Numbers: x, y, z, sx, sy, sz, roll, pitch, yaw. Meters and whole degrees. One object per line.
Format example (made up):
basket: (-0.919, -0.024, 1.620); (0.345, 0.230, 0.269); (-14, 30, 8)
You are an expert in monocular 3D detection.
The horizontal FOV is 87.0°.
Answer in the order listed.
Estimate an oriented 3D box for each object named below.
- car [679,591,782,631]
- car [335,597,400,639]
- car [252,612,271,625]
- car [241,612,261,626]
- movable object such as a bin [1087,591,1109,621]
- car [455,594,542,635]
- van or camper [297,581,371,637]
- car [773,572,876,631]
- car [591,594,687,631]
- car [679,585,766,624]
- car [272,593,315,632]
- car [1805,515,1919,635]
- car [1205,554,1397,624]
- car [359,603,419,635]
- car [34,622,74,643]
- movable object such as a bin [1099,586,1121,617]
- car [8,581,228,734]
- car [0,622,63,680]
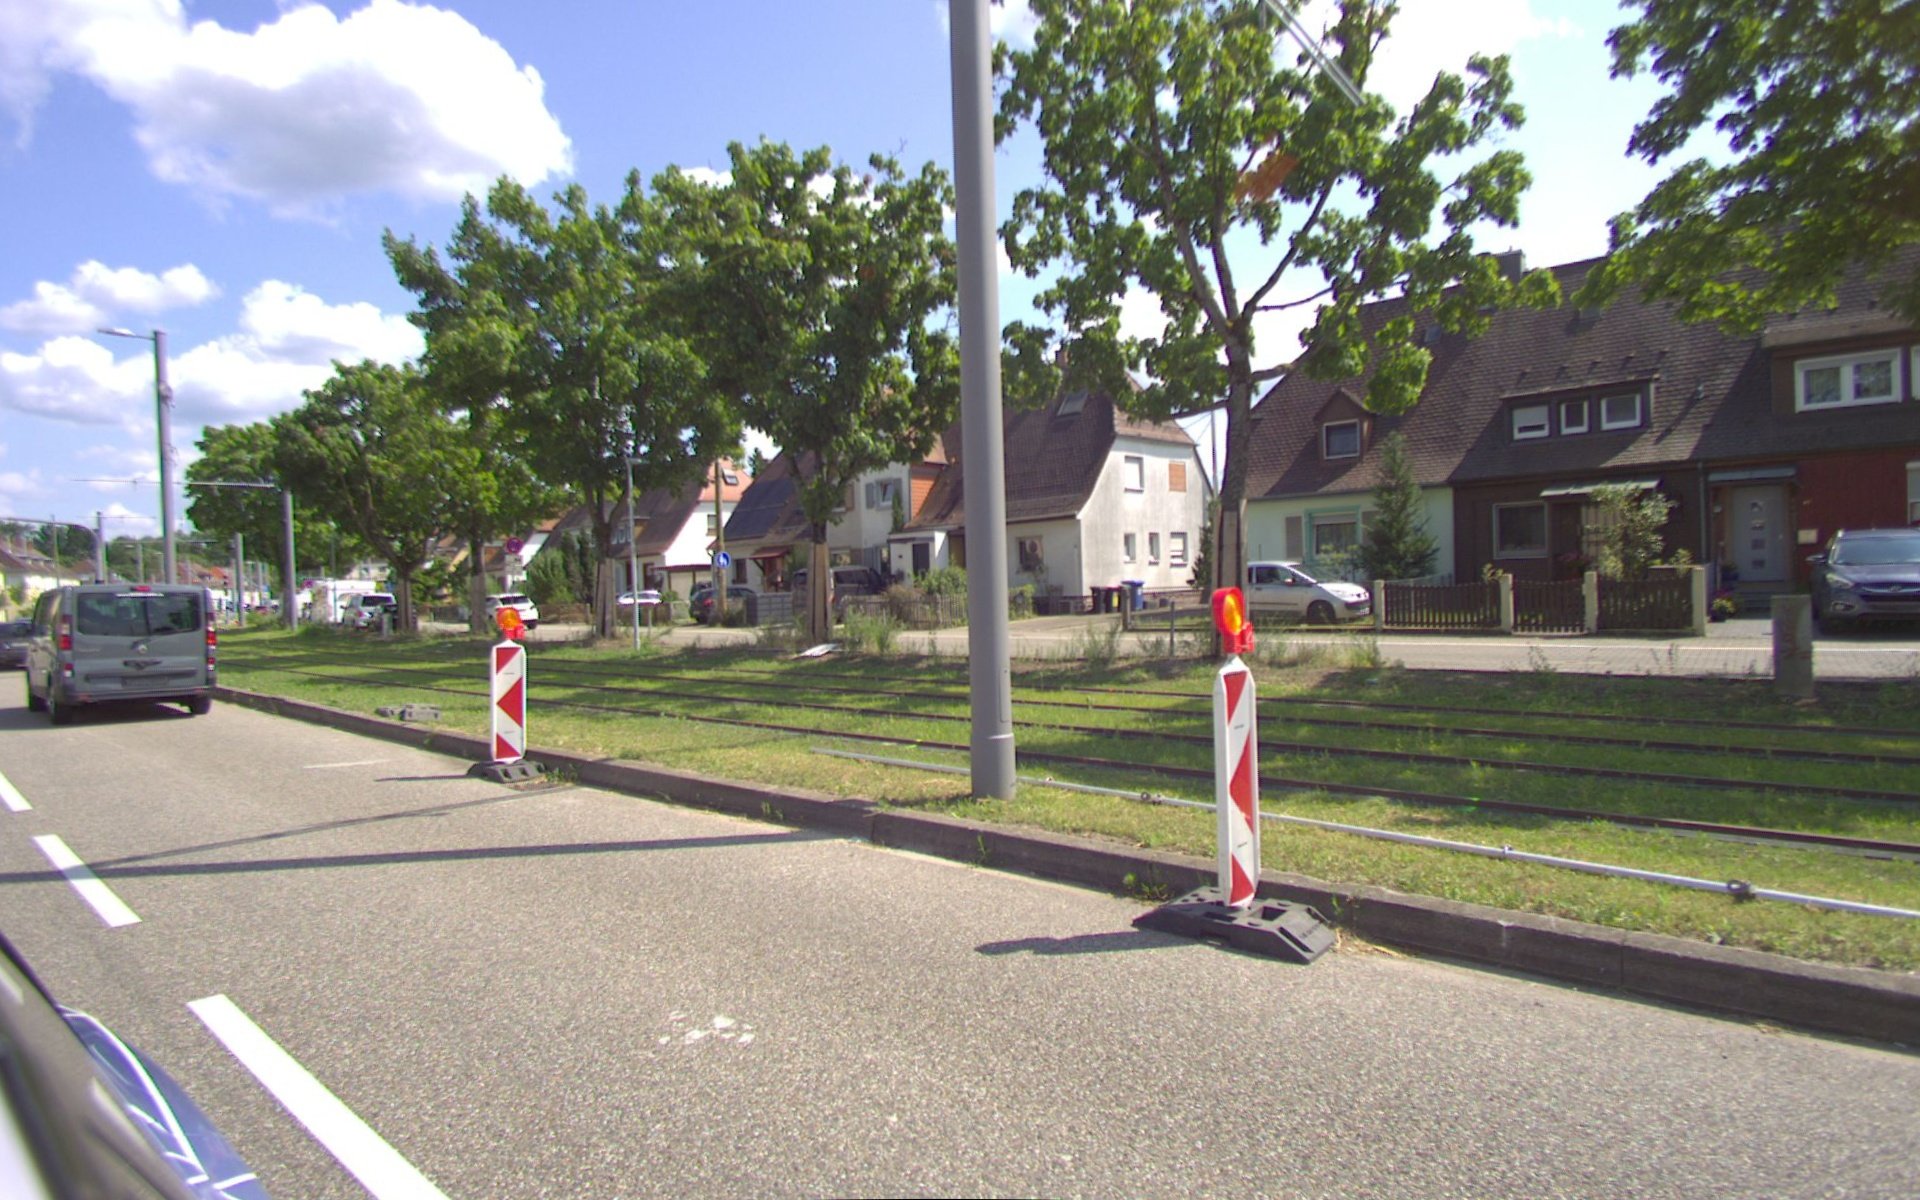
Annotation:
car: (-9.509, 0.439, 42.143); (1.735, 1.468, 3.841); (-2, 1, 43)
car: (-30.888, 0.911, 52.668); (1.969, 2.029, 4.911); (-3, 1, -41)
car: (-89.421, 2.394, 129.679); (1.702, 1.574, 4.658); (-2, 1, -31)
car: (-86.314, 2.278, 123.236); (1.702, 1.574, 4.555); (-2, 1, -31)
movable object such as a bin: (4.542, 0.193, 33.305); (0.500, 0.984, 0.446); (-2, 1, 44)
car: (-21.514, 0.667, 47.043); (5.084, 1.781, 1.861); (-1, 1, 43)
van or camper: (-35.818, 0.518, 57.806); (2.347, 2.992, 7.306); (-2, 1, -41)
car: (-4.865, 0.016, 36.911); (1.931, 1.910, 3.866); (-2, 2, 24)
car: (-15.379, 0.580, 48.590); (1.874, 1.541, 3.944); (-2, 2, 43)
car: (-12.181, 0.208, 52.101); (1.799, 1.750, 3.944); (-2, 2, 43)
car: (-48.383, 0.886, 73.432); (2.126, 2.688, 4.925); (-2, 1, -38)
car: (16.026, -0.454, 17.404); (2.062, 1.850, 4.429); (-2, 1, 38)
car: (8.200, -0.249, 24.510); (4.040, 1.529, 1.711); (-1, 1, 39)
car: (-27.126, 0.875, 47.979); (1.828, 1.397, 4.819); (-3, 1, -37)
car: (-77.923, 2.761, 87.083); (1.849, 1.564, 4.999); (-2, 1, -34)
movable object such as a bin: (4.971, 0.045, 33.548); (0.500, 0.984, 0.446); (-2, 1, 44)
car: (-13.240, 0.794, 15.771); (5.292, 1.981, 1.934); (-2, 0, 43)
car: (-25.527, 1.327, 27.268); (3.959, 1.460, 1.647); (-1, -2, 43)
